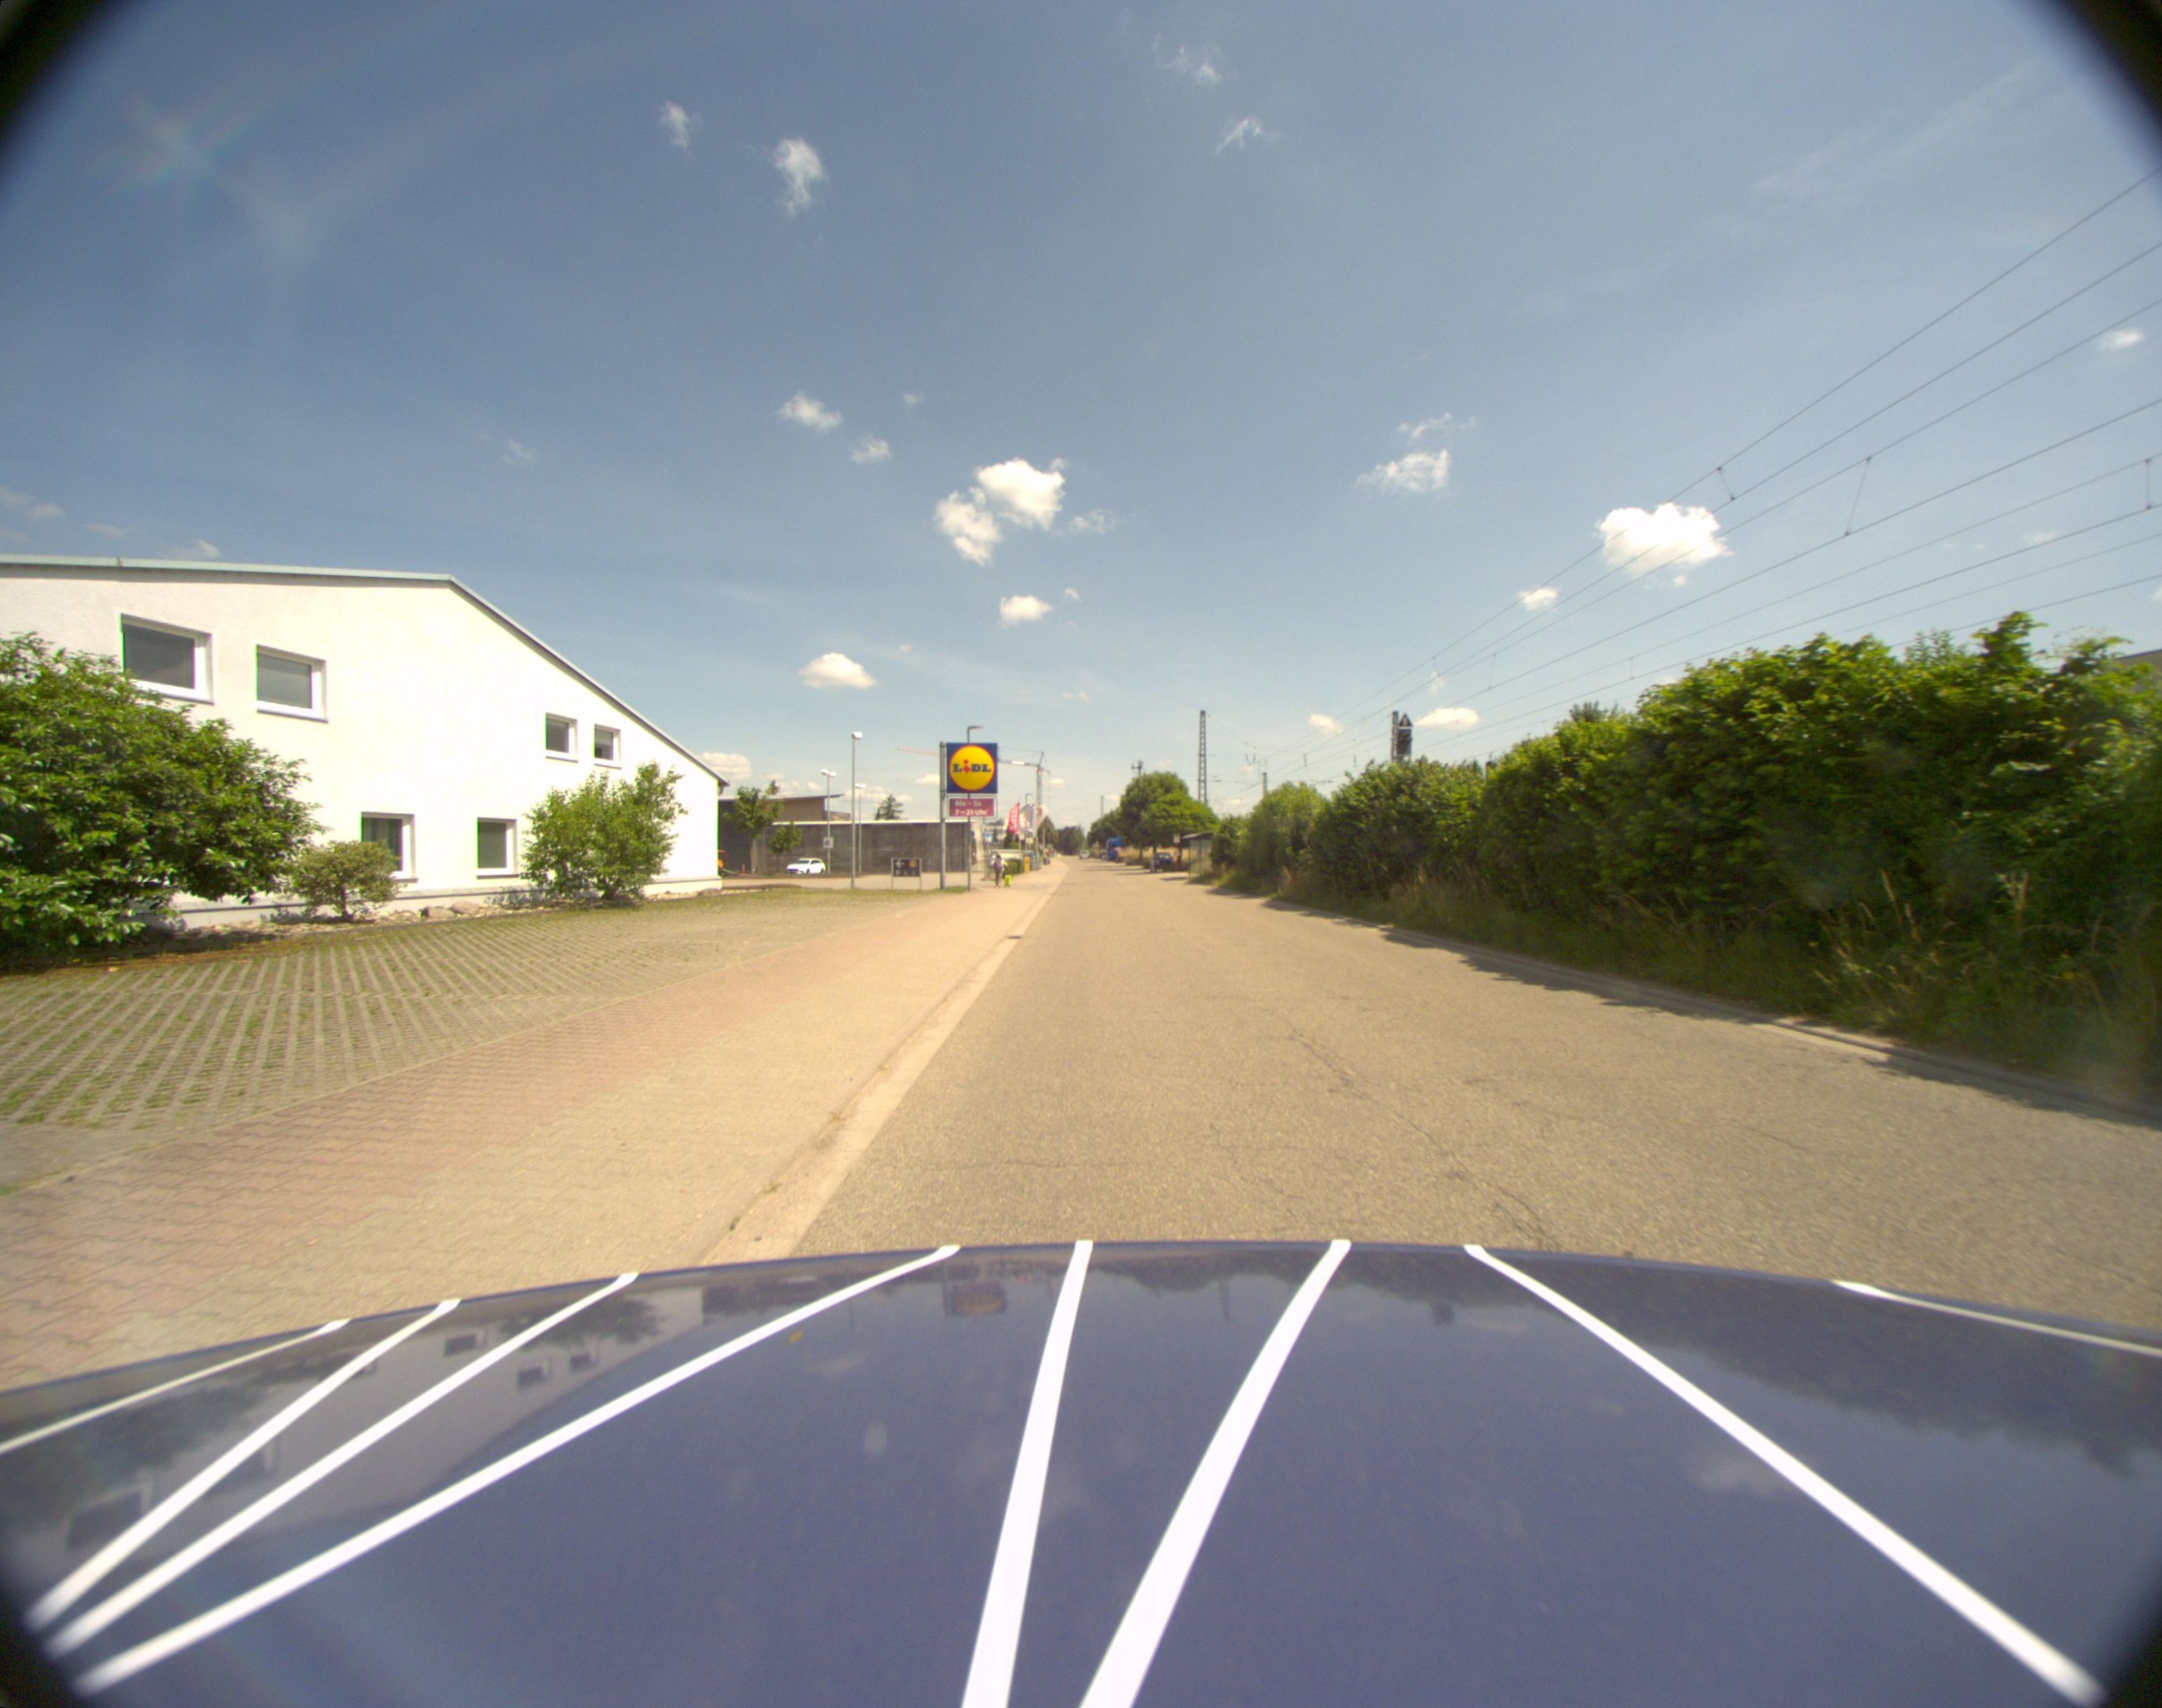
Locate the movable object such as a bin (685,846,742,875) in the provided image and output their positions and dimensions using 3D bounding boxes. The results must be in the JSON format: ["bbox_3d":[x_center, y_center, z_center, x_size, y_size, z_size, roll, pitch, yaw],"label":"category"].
[{"bbox_3d":[-29.398,0.481,60.890,1.682,2.191,4.526,1,0,12],"label":"movable object such as a bin"}]

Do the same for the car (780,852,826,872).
[{"bbox_3d":[-24.013,0.733,65.825,1.997,1.652,4.441,-1,-1,6],"label":"car"}]

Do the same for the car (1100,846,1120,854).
[{"bbox_3d":[5.780,-0.785,152.966,3.954,1.442,1.787,-1,1,2],"label":"car"}]

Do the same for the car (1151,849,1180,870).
[{"bbox_3d":[6.730,0.417,60.976,1.746,1.587,3.578,-1,0,-2],"label":"car"}]

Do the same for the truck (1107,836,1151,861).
[{"bbox_3d":[7.624,-0.906,120.158,6.633,3.801,2.662,0,1,-5],"label":"truck"}]

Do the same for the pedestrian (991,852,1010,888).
[{"bbox_3d":[-3.637,0.706,34.567,0.763,1.592,1.210,1,1,-3],"label":"pedestrian"}]

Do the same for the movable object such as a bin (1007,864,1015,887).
[{"bbox_3d":[-3.219,0.991,35.046,0.375,1.024,0.498,0,1,-4],"label":"movable object such as a bin"}]

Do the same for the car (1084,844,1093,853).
[{"bbox_3d":[1.552,-1.124,160.741,1.843,1.847,4.482,-1,1,-1],"label":"car"}]

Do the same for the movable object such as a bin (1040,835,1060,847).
[{"bbox_3d":[-8.784,-3.756,214.170,5.134,3.277,2.390,-1,6,-19],"label":"movable object such as a bin"}]

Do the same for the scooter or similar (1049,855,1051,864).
[{"bbox_3d":[-4.354,0.802,106.735,0.334,1.191,0.397,0,3,-1],"label":"scooter or similar"}]

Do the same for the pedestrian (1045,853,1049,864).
[{"bbox_3d":[-4.812,0.591,106.744,0.536,1.533,0.510,-1,9,-3],"label":"pedestrian"}]
